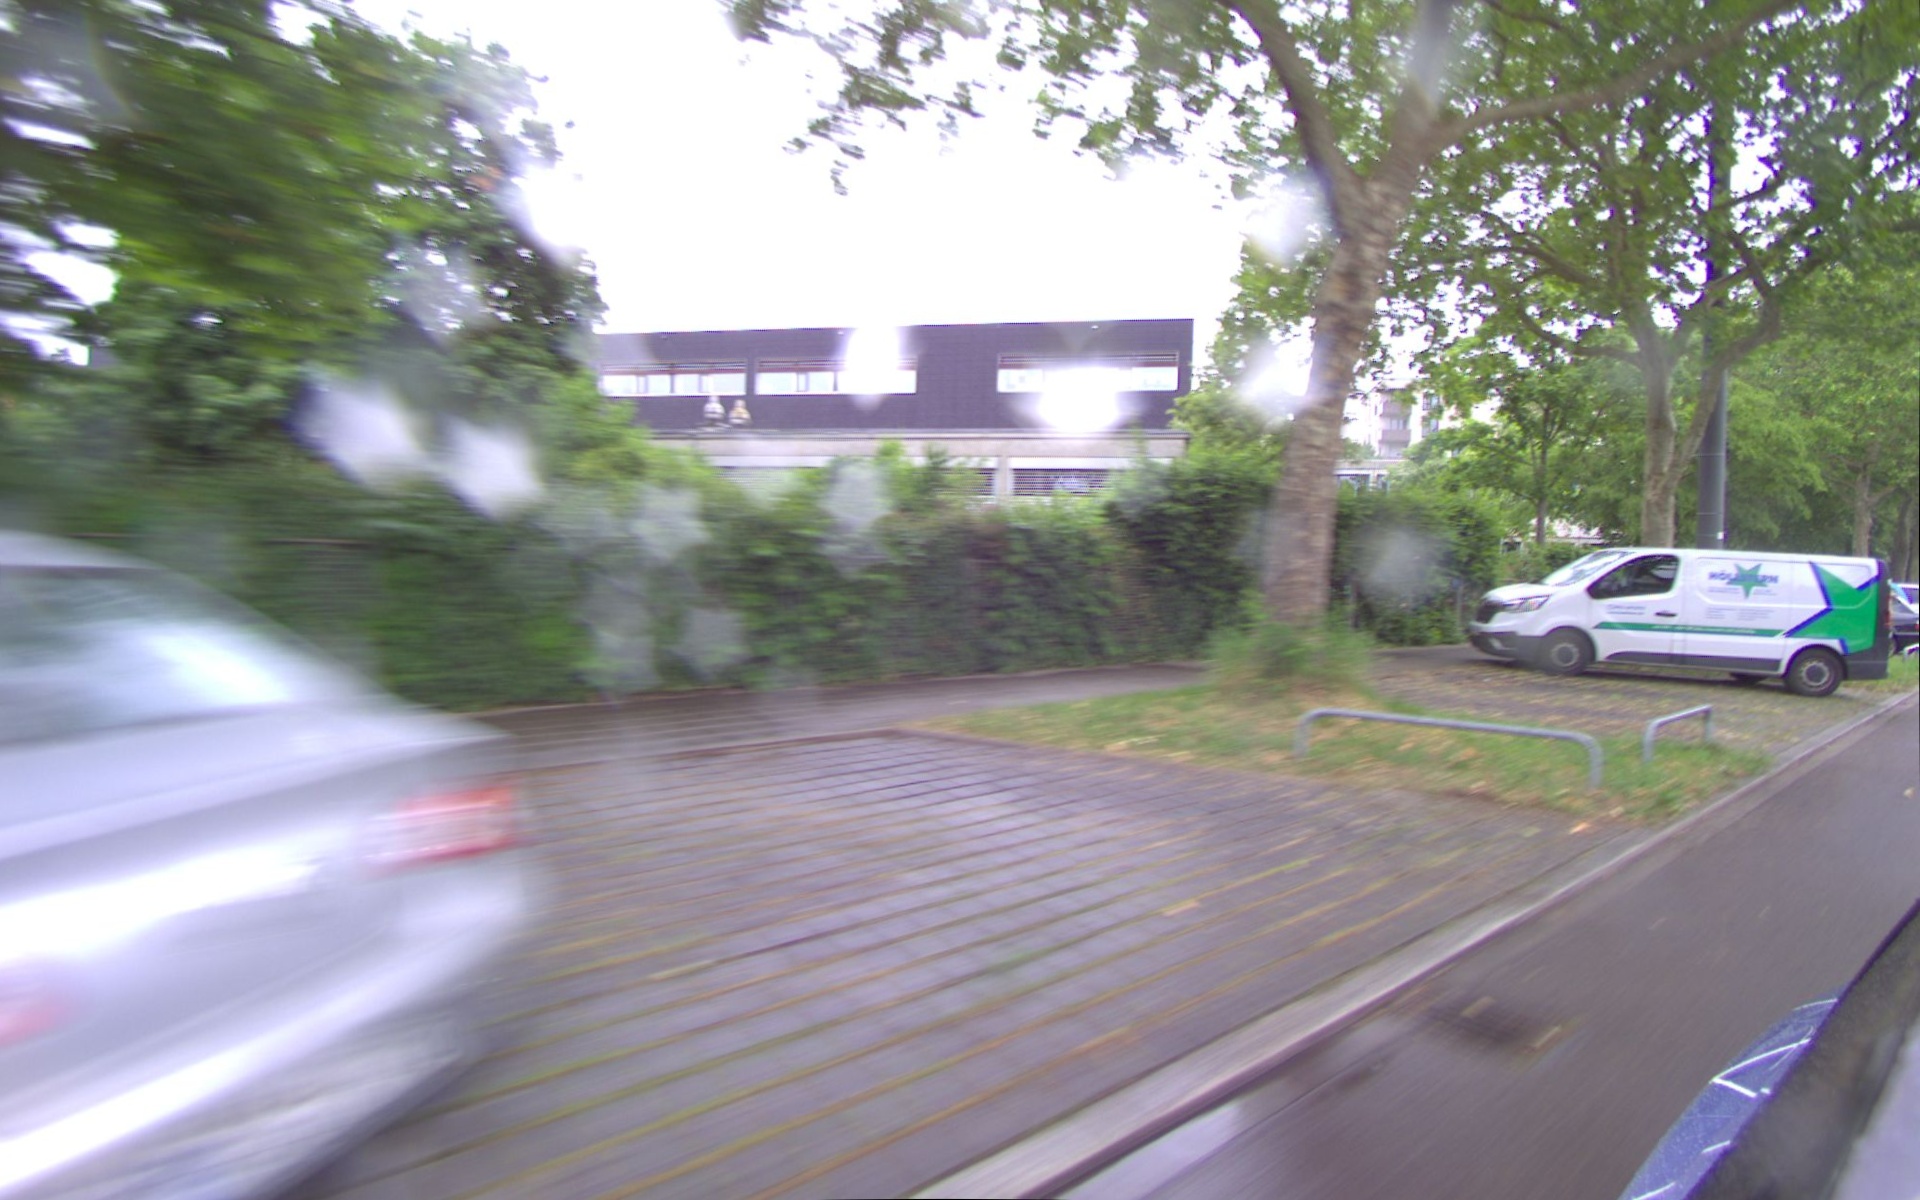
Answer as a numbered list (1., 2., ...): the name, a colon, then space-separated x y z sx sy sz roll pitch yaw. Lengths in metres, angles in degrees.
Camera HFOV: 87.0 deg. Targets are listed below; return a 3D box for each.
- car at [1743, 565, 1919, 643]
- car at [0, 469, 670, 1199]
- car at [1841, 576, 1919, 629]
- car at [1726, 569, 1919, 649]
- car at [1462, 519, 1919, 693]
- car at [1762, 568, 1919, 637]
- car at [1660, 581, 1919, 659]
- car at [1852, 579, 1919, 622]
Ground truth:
1. car: 22.294 0.057 25.762 3.229 1.691 1.586 4 4 15
2. car: -3.172 0.408 2.297 4.502 1.563 1.877 6 3 18
3. car: 29.442 0.108 31.260 2.870 1.483 1.594 4 4 20
4. car: 20.272 0.181 23.502 3.355 1.536 1.843 4 4 14
5. car: 10.425 0.007 14.933 4.958 2.038 1.992 4 2 15
6. car: 24.580 0.066 27.468 3.985 1.661 1.650 3 3 11
7. car: 17.576 0.381 21.326 4.236 1.401 1.736 2 2 10
8. car: 37.287 0.090 39.025 3.753 1.551 1.874 4 3 16
